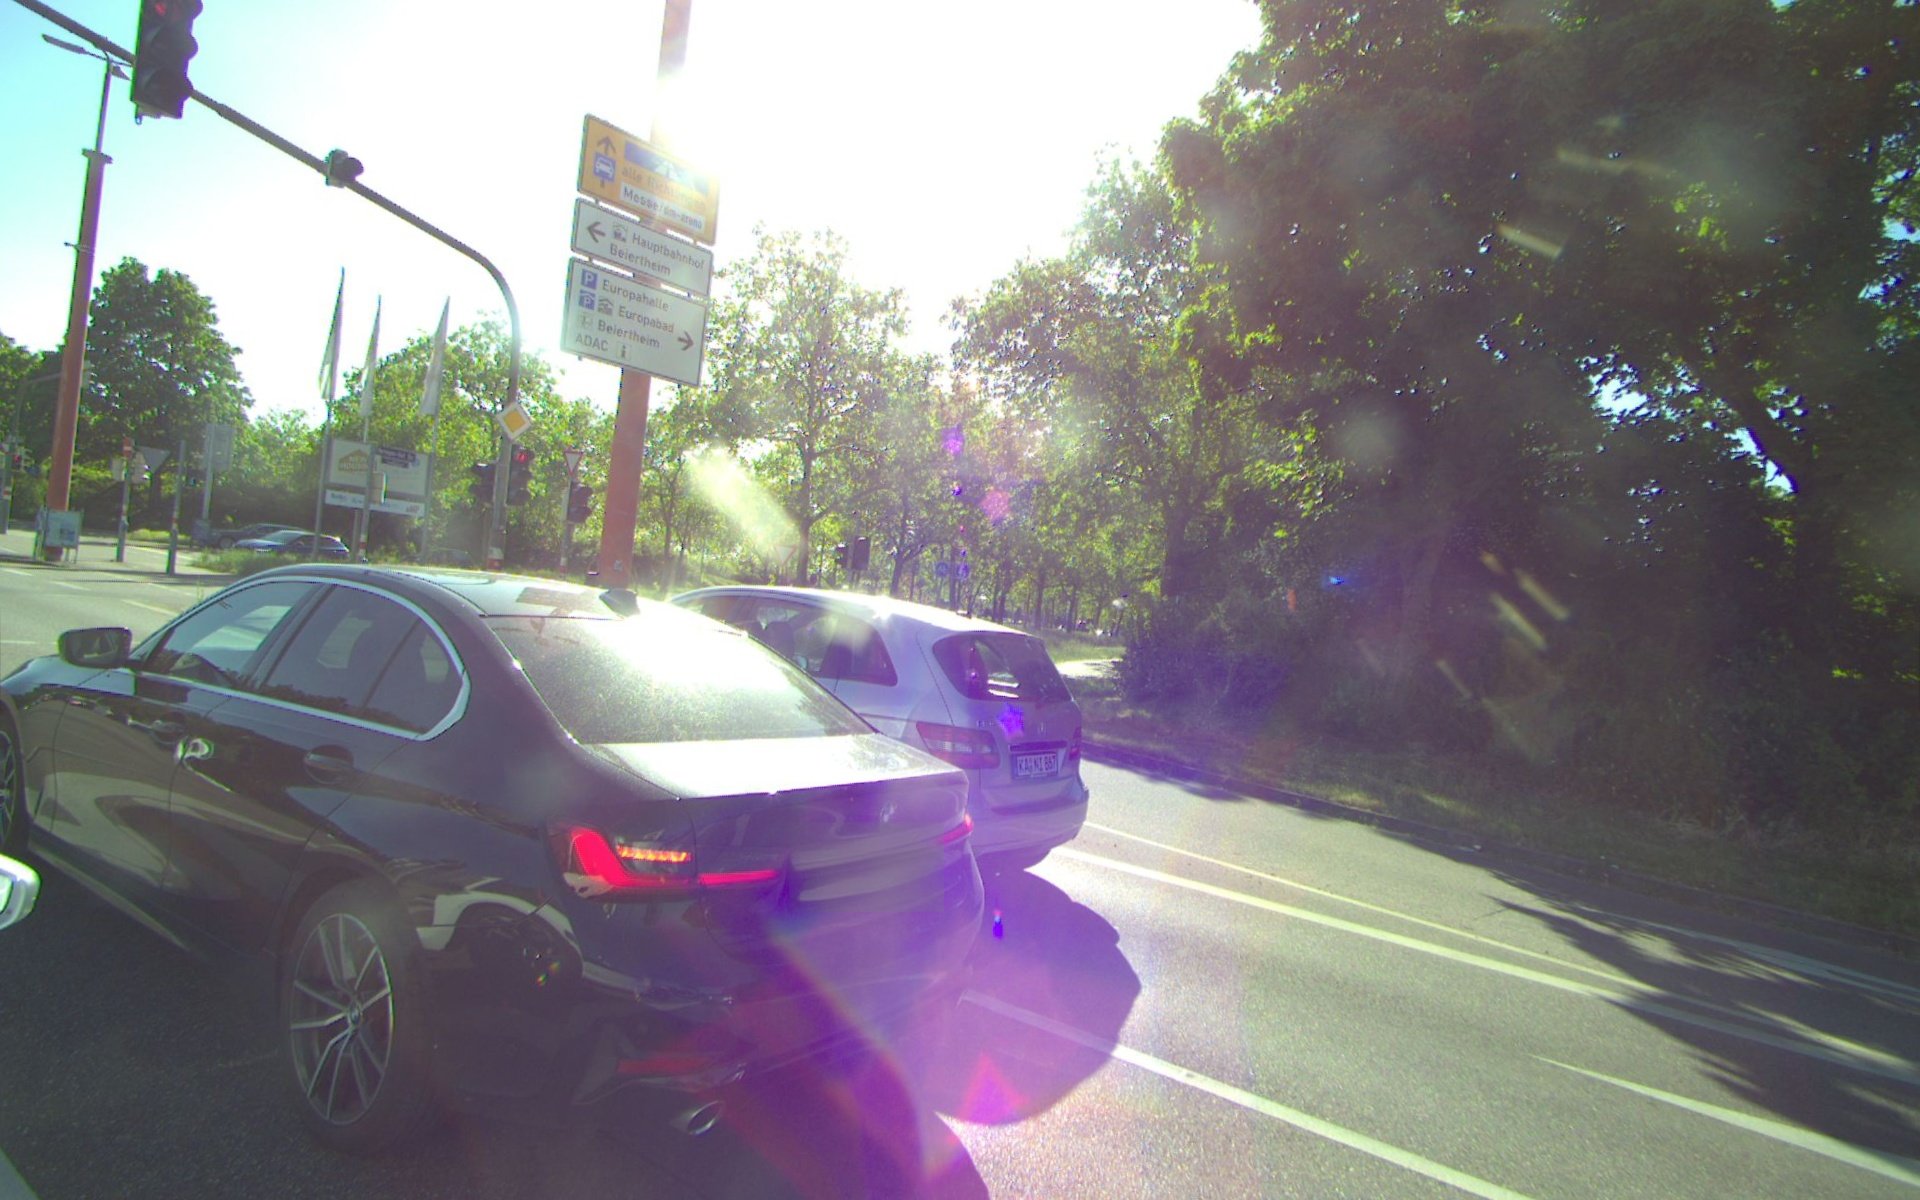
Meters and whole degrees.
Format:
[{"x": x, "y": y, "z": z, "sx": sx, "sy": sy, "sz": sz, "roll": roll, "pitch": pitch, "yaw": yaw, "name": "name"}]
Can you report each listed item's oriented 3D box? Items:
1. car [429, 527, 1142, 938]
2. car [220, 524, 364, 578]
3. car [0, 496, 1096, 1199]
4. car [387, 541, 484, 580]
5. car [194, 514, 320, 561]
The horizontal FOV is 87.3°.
[{"x": -1.289, "y": 0.638, "z": 6.794, "sx": 4.403, "sy": 1.706, "sz": 1.970, "roll": 7, "pitch": -1, "yaw": 32, "name": "car"}, {"x": -25.092, "y": -1.814, "z": 37.989, "sx": 1.848, "sy": 1.445, "sz": 4.283, "roll": 7, "pitch": -1, "yaw": 14, "name": "car"}, {"x": -1.967, "y": 0.527, "z": 3.886, "sx": 4.403, "sy": 1.411, "sz": 1.996, "roll": 7, "pitch": 0, "yaw": 32, "name": "car"}, {"x": -29.790, "y": -2.208, "z": 57.253, "sx": 2.130, "sy": 1.592, "sz": 4.273, "roll": 7, "pitch": -1, "yaw": 31, "name": "car"}, {"x": -34.506, "y": -3.043, "z": 49.468, "sx": 2.134, "sy": 1.592, "sz": 4.566, "roll": 7, "pitch": -1, "yaw": 38, "name": "car"}]
